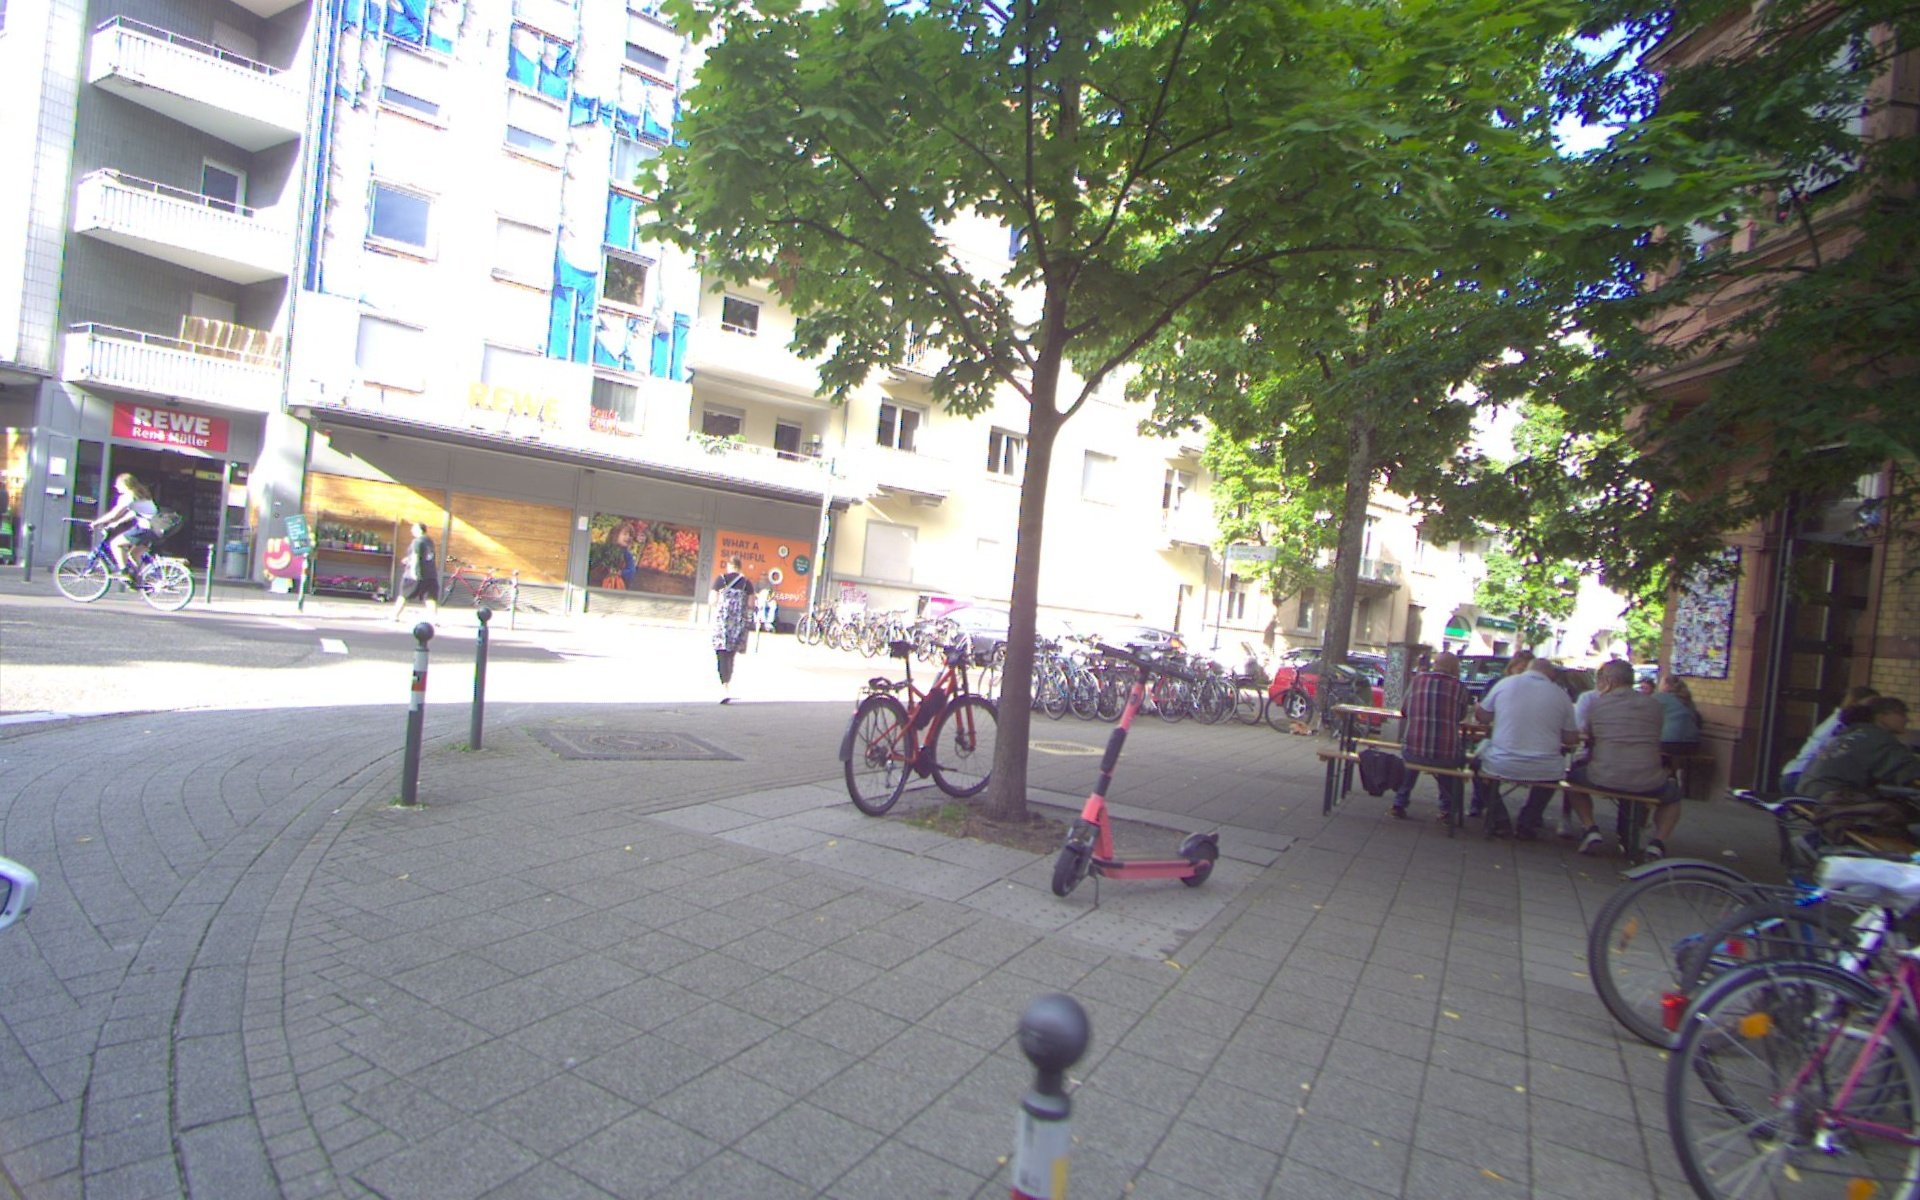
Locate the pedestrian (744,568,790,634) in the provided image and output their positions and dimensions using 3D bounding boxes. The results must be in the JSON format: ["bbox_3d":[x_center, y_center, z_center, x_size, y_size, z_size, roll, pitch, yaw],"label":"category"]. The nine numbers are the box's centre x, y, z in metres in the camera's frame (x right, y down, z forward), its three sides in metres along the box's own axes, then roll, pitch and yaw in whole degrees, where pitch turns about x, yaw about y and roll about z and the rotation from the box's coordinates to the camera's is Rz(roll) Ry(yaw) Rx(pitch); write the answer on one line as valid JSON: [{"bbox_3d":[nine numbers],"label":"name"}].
[{"bbox_3d":[-4.960,0.030,25.842,0.742,1.568,0.725,8,0,-34],"label":"pedestrian"}]

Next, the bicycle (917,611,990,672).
[{"bbox_3d":[-0.126,0.937,22.464,1.553,1.154,0.568,9,-2,-44],"label":"bicycle"}]

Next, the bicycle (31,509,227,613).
[{"bbox_3d":[-11.643,-0.532,14.152,1.942,1.215,0.711,6,1,-10],"label":"bicycle"}]

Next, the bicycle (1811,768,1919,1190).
[{"bbox_3d":[3.528,1.130,2.858,1.764,1.089,0.354,5,4,1],"label":"bicycle"}]

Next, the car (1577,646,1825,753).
[{"bbox_3d":[18.094,2.383,24.758,1.982,1.973,4.382,6,0,-36],"label":"car"}]

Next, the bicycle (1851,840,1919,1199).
[{"bbox_3d":[2.997,1.156,2.052,1.870,1.054,0.444,5,4,1],"label":"bicycle"}]

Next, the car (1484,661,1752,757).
[{"bbox_3d":[14.124,2.317,21.844,1.982,1.388,4.382,6,0,-36],"label":"car"}]

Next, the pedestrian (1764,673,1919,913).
[{"bbox_3d":[5.829,1.207,6.487,0.745,1.375,0.673,6,1,26],"label":"pedestrian"}]

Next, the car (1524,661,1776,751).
[{"bbox_3d":[16.051,2.441,23.608,1.982,1.433,4.382,6,0,-36],"label":"car"}]

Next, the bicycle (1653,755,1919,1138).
[{"bbox_3d":[3.080,1.104,3.165,1.429,1.054,0.336,5,4,1],"label":"bicycle"}]

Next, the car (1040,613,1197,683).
[{"bbox_3d":[4.493,1.323,28.351,3.926,1.440,1.999,6,0,21],"label":"car"}]

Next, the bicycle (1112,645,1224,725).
[{"bbox_3d":[3.099,1.262,15.077,0.477,1.024,1.601,5,-1,-42],"label":"bicycle"}]

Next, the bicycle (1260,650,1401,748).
[{"bbox_3d":[5.176,1.360,14.176,0.561,1.145,1.837,5,-1,-30],"label":"bicycle"}]

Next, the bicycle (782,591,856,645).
[{"bbox_3d":[-3.305,0.448,23.807,0.428,1.155,2.081,7,1,30],"label":"bicycle"}]

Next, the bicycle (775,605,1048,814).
[{"bbox_3d":[-0.235,0.671,6.548,0.642,1.108,1.925,7,0,34],"label":"bicycle"}]

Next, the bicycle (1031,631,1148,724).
[{"bbox_3d":[1.808,1.072,14.412,0.475,1.103,2.072,5,-1,-27],"label":"bicycle"}]

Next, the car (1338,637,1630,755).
[{"bbox_3d":[9.768,1.748,19.074,1.982,1.571,4.382,6,0,-36],"label":"car"}]

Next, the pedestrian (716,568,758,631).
[{"bbox_3d":[-5.635,-0.002,25.439,0.745,1.499,0.581,5,2,-35],"label":"pedestrian"}]

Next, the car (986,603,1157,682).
[{"bbox_3d":[2.942,1.087,26.408,3.927,1.552,1.999,6,0,22],"label":"car"}]

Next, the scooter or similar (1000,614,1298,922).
[{"bbox_3d":[0.943,0.785,4.960,1.237,1.290,0.658,6,1,-36],"label":"scooter or similar"}]

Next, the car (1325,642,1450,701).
[{"bbox_3d":[15.496,2.571,36.538,3.928,1.605,1.998,6,0,24],"label":"car"}]

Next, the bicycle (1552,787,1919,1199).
[{"bbox_3d":[2.587,1.114,2.491,1.885,1.054,0.389,5,4,1],"label":"bicycle"}]

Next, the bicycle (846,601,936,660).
[{"bbox_3d":[-1.526,0.720,22.815,0.740,1.155,2.320,7,0,31],"label":"bicycle"}]

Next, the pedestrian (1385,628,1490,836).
[{"bbox_3d":[3.557,0.951,7.505,0.539,1.410,0.758,6,1,26],"label":"pedestrian"}]

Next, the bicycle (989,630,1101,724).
[{"bbox_3d":[1.132,1.034,13.938,0.475,1.117,2.014,5,-2,-27],"label":"bicycle"}]

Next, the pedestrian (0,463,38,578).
[{"bbox_3d":[-16.231,-1.356,16.901,0.603,1.874,0.869,7,1,35],"label":"pedestrian"}]

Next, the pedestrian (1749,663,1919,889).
[{"bbox_3d":[6.103,1.194,7.058,0.626,1.424,0.574,6,1,23],"label":"pedestrian"}]

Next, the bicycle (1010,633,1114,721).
[{"bbox_3d":[1.410,1.059,14.277,0.337,1.066,2.028,5,-1,-27],"label":"bicycle"}]

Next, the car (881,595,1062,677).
[{"bbox_3d":[0.296,0.875,24.935,3.927,1.529,1.999,6,0,23],"label":"car"}]

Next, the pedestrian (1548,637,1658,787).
[{"bbox_3d":[7.292,1.256,11.425,0.680,1.584,0.603,6,1,-11],"label":"pedestrian"}]

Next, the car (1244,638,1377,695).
[{"bbox_3d":[11.582,2.152,33.196,3.927,1.349,1.999,6,0,23],"label":"car"}]

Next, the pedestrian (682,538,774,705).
[{"bbox_3d":[-2.679,0.240,11.566,0.773,1.802,0.789,5,1,-22],"label":"pedestrian"}]

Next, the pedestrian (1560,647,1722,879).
[{"bbox_3d":[4.682,1.080,6.980,0.690,1.424,0.798,6,1,26],"label":"pedestrian"}]

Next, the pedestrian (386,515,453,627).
[{"bbox_3d":[-8.979,-0.487,16.705,0.765,1.761,0.627,7,1,42],"label":"pedestrian"}]

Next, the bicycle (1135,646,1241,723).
[{"bbox_3d":[3.452,1.272,15.365,0.338,1.024,1.611,5,-1,-42],"label":"bicycle"}]

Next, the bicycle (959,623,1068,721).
[{"bbox_3d":[0.687,0.947,13.711,0.424,1.170,1.985,5,-2,-28],"label":"bicycle"}]

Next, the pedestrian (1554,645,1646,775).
[{"bbox_3d":[8.310,1.419,13.067,0.694,1.584,0.631,5,1,-33],"label":"pedestrian"}]

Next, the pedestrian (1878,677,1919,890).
[{"bbox_3d":[6.972,1.286,6.872,0.745,1.424,0.673,6,1,26],"label":"pedestrian"}]

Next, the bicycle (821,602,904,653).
[{"bbox_3d":[-2.232,0.663,23.331,0.740,1.045,2.058,7,1,31],"label":"bicycle"}]

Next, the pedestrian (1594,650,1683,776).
[{"bbox_3d":[9.103,1.517,13.509,0.694,1.584,0.636,5,1,-33],"label":"pedestrian"}]

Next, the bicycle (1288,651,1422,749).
[{"bbox_3d":[5.618,1.393,14.412,0.422,1.149,1.836,4,1,-30],"label":"bicycle"}]

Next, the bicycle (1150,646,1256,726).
[{"bbox_3d":[3.756,1.317,15.677,0.338,1.024,1.601,5,1,-42],"label":"bicycle"}]

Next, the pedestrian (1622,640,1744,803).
[{"bbox_3d":[7.579,1.262,10.563,0.660,1.584,0.622,6,1,-13],"label":"pedestrian"}]

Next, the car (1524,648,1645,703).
[{"bbox_3d":[27.370,3.306,44.248,4.043,1.857,2.002,6,-2,21],"label":"car"}]

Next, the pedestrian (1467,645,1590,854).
[{"bbox_3d":[4.078,1.037,7.270,0.586,1.359,0.758,6,1,26],"label":"pedestrian"}]

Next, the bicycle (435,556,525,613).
[{"bbox_3d":[-10.460,-0.339,21.978,1.661,1.063,0.455,6,1,-21],"label":"bicycle"}]

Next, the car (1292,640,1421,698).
[{"bbox_3d":[13.734,2.344,34.864,3.928,1.460,1.998,6,0,24],"label":"car"}]

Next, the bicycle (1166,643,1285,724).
[{"bbox_3d":[4.190,1.308,16.020,0.424,1.094,1.830,5,-1,-41],"label":"bicycle"}]

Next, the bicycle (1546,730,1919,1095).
[{"bbox_3d":[2.929,1.083,3.545,1.360,1.053,0.451,6,1,0],"label":"bicycle"}]

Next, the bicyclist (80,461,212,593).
[{"bbox_3d":[-11.472,-0.996,14.221,0.999,1.689,0.942,6,1,-9],"label":"bicyclist"}]

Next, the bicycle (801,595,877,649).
[{"bbox_3d":[-2.802,0.535,23.601,0.477,1.155,2.141,7,1,30],"label":"bicycle"}]

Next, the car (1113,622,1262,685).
[{"bbox_3d":[6.801,1.571,30.046,3.927,1.337,1.999,6,0,23],"label":"car"}]

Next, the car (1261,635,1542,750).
[{"bbox_3d":[7.569,1.557,17.597,1.981,1.404,3.963,6,0,-35],"label":"car"}]
